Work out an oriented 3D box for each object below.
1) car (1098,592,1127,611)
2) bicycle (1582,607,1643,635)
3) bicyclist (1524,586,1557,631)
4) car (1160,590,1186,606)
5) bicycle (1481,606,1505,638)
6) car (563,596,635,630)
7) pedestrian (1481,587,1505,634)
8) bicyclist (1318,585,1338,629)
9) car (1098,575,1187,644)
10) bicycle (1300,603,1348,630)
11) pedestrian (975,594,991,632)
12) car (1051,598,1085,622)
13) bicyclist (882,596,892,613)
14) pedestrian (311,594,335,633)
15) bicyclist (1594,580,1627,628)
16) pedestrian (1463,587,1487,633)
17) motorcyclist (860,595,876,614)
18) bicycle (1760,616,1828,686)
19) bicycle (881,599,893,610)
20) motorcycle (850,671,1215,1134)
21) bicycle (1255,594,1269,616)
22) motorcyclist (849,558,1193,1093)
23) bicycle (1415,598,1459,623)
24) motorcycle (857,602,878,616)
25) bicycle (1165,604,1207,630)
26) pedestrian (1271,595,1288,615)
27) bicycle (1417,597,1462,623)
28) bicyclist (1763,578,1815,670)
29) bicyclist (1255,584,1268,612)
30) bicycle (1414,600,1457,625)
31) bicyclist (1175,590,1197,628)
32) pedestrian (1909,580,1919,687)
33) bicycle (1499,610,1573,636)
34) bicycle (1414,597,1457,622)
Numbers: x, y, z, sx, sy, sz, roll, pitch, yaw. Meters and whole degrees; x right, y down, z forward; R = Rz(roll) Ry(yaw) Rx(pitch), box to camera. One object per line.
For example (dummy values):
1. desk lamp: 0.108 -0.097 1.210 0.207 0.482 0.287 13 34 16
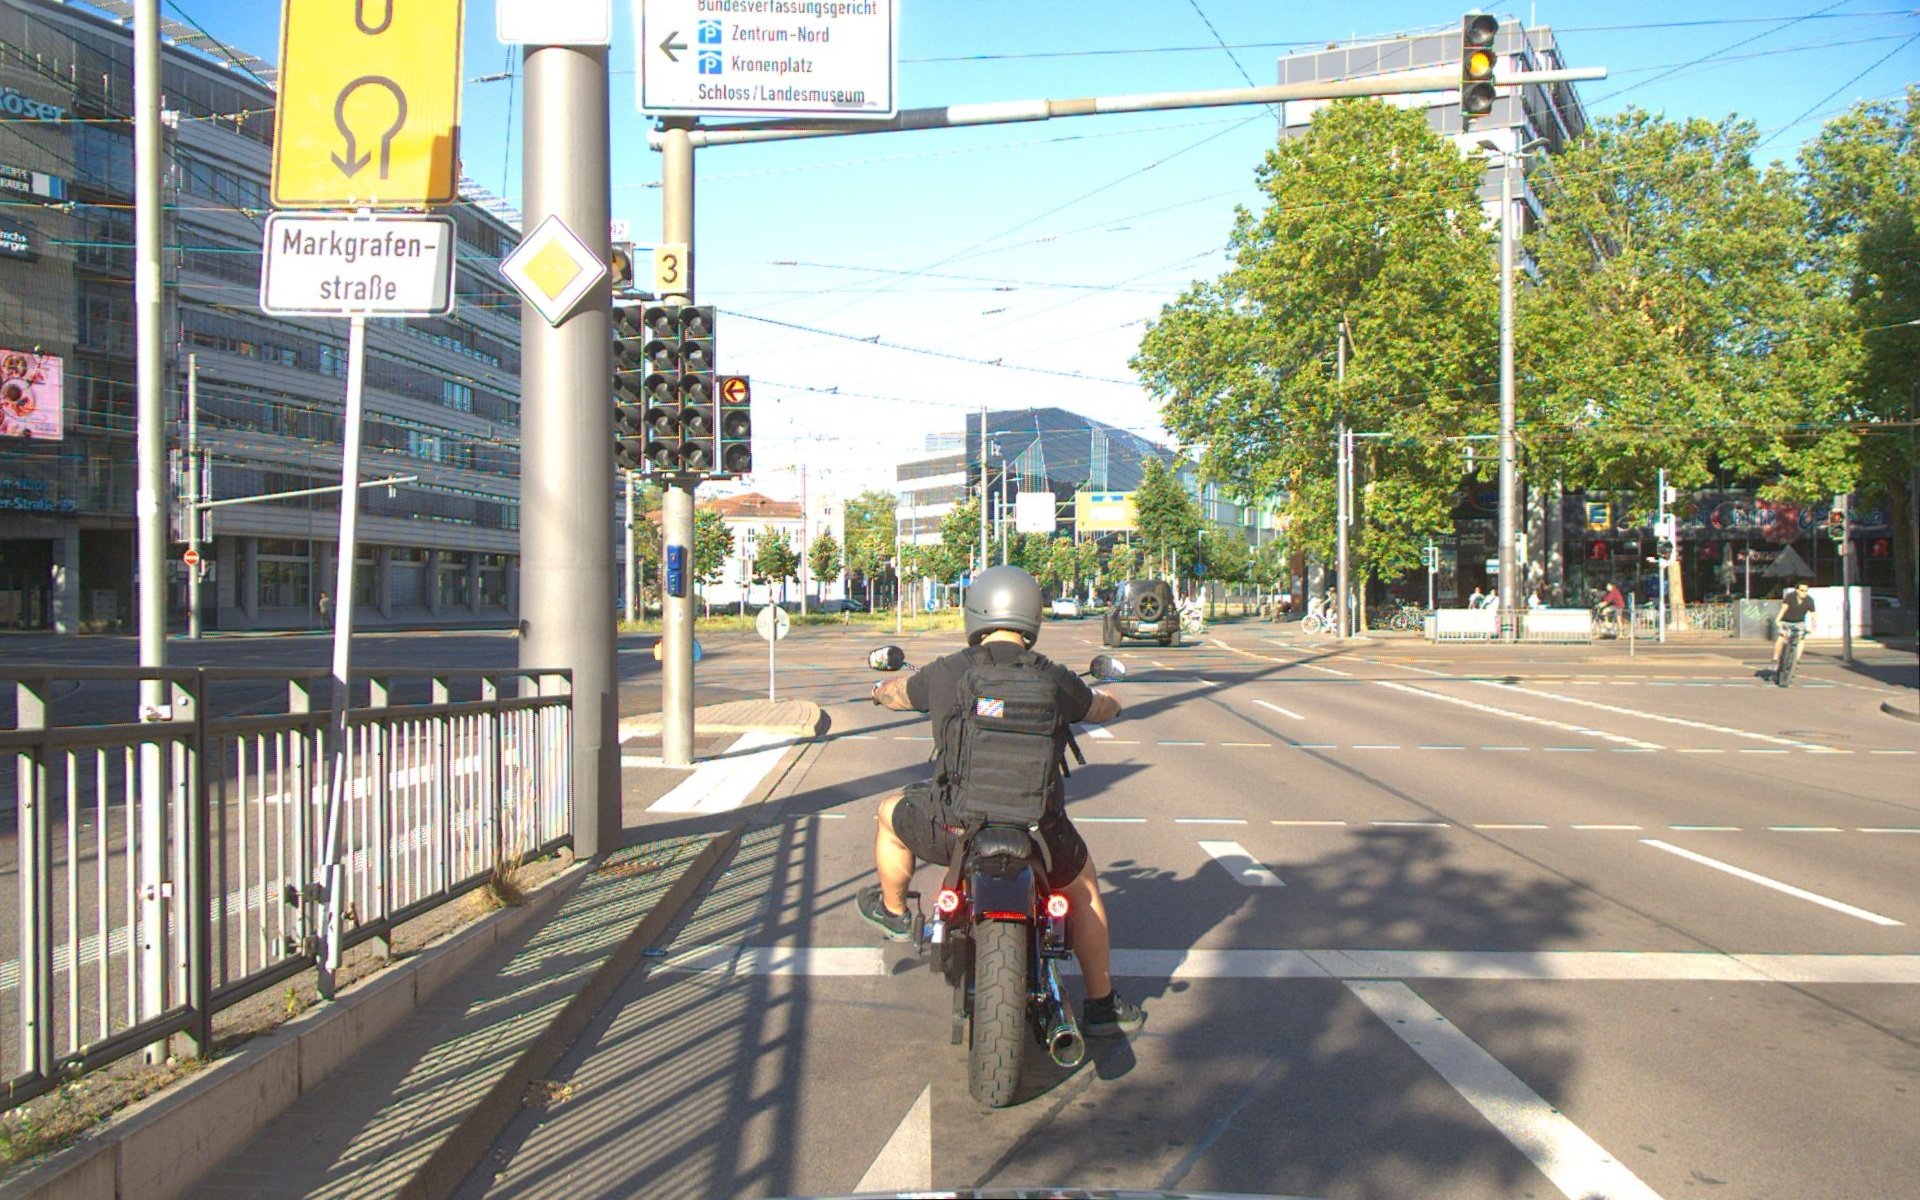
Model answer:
1. car: 12.237 0.114 132.537 1.735 1.541 3.735 0 0 15
2. bicycle: 22.439 0.718 56.898 1.814 0.926 0.652 0 0 3
3. bicyclist: 25.607 0.368 72.989 1.201 1.965 0.835 0 0 4
4. car: 20.144 -0.197 156.373 1.684 1.510 3.755 0 0 20
5. bicycle: 18.555 0.762 57.592 0.773 1.070 1.924 1 0 17
6. car: -17.072 0.606 78.449 1.753 1.491 4.315 -1 1 11
7. pedestrian: 18.561 0.364 57.548 0.754 1.622 0.838 1 -1 19
8. bicyclist: 14.551 0.278 65.424 0.727 1.724 0.570 -1 -1 10
9. car: 5.307 0.275 48.583 2.011 1.906 4.225 1 0 -2
10. bicycle: 14.400 0.652 65.442 1.813 1.039 0.517 -1 -1 11
11. pedestrian: 0.977 0.537 69.161 0.643 1.610 0.489 0 0 3
12. car: 7.382 0.671 112.571 1.861 1.534 4.003 1 0 11
13. bicyclist: -7.270 0.473 164.272 0.747 1.696 0.994 0 0 17
14. pedestrian: -30.480 0.637 79.151 0.660 1.855 0.886 -2 -1 9
15. bicyclist: 22.381 0.142 56.907 0.906 1.643 0.638 0 0 3
16. pedestrian: 21.718 0.423 69.727 0.829 1.884 0.810 2 0 14
17. motorcyclist: -8.641 0.387 155.161 0.997 1.761 1.461 0 0 17
18. bicycle: 14.593 0.877 28.983 0.588 1.068 1.883 -5 0 14
19. bicycle: -7.272 0.449 164.291 0.629 1.127 1.686 0 0 17
20. motorcycle: 0.184 0.883 5.700 0.985 1.145 2.323 1 0 -1
21. bicycle: 20.639 0.341 113.085 0.842 1.507 2.578 0 0 12
22. motorcyclist: 0.173 0.670 5.570 1.001 1.579 1.286 1 0 -1
23. bicycle: 19.227 0.427 66.677 1.668 1.003 0.391 0 0 13
24. motorcycle: -8.657 0.869 155.120 0.963 1.253 2.945 0 0 17
25. bicycle: 9.195 0.694 67.268 1.594 1.039 0.516 -1 -1 23
26. pedestrian: 17.544 0.293 90.933 0.768 1.075 0.814 0 0 22
27. bicycle: 19.075 0.389 65.829 1.668 1.003 0.391 0 0 13
28. bicyclist: 14.605 0.421 29.156 0.566 1.541 0.851 -4 1 15
29. bicyclist: 20.653 -0.137 113.180 0.842 1.873 1.258 0 0 12
30. bicycle: 19.435 0.507 67.590 1.668 1.003 0.391 0 0 13
31. bicyclist: 9.203 0.375 67.315 0.727 1.529 0.570 -1 -1 23
32. pedestrian: 15.771 0.543 26.828 0.552 1.733 0.655 0 -1 39
33. bicycle: 25.396 1.013 72.993 2.977 1.133 0.835 0 0 4
34. bicycle: 19.553 0.385 68.053 1.668 1.003 0.391 0 0 13
